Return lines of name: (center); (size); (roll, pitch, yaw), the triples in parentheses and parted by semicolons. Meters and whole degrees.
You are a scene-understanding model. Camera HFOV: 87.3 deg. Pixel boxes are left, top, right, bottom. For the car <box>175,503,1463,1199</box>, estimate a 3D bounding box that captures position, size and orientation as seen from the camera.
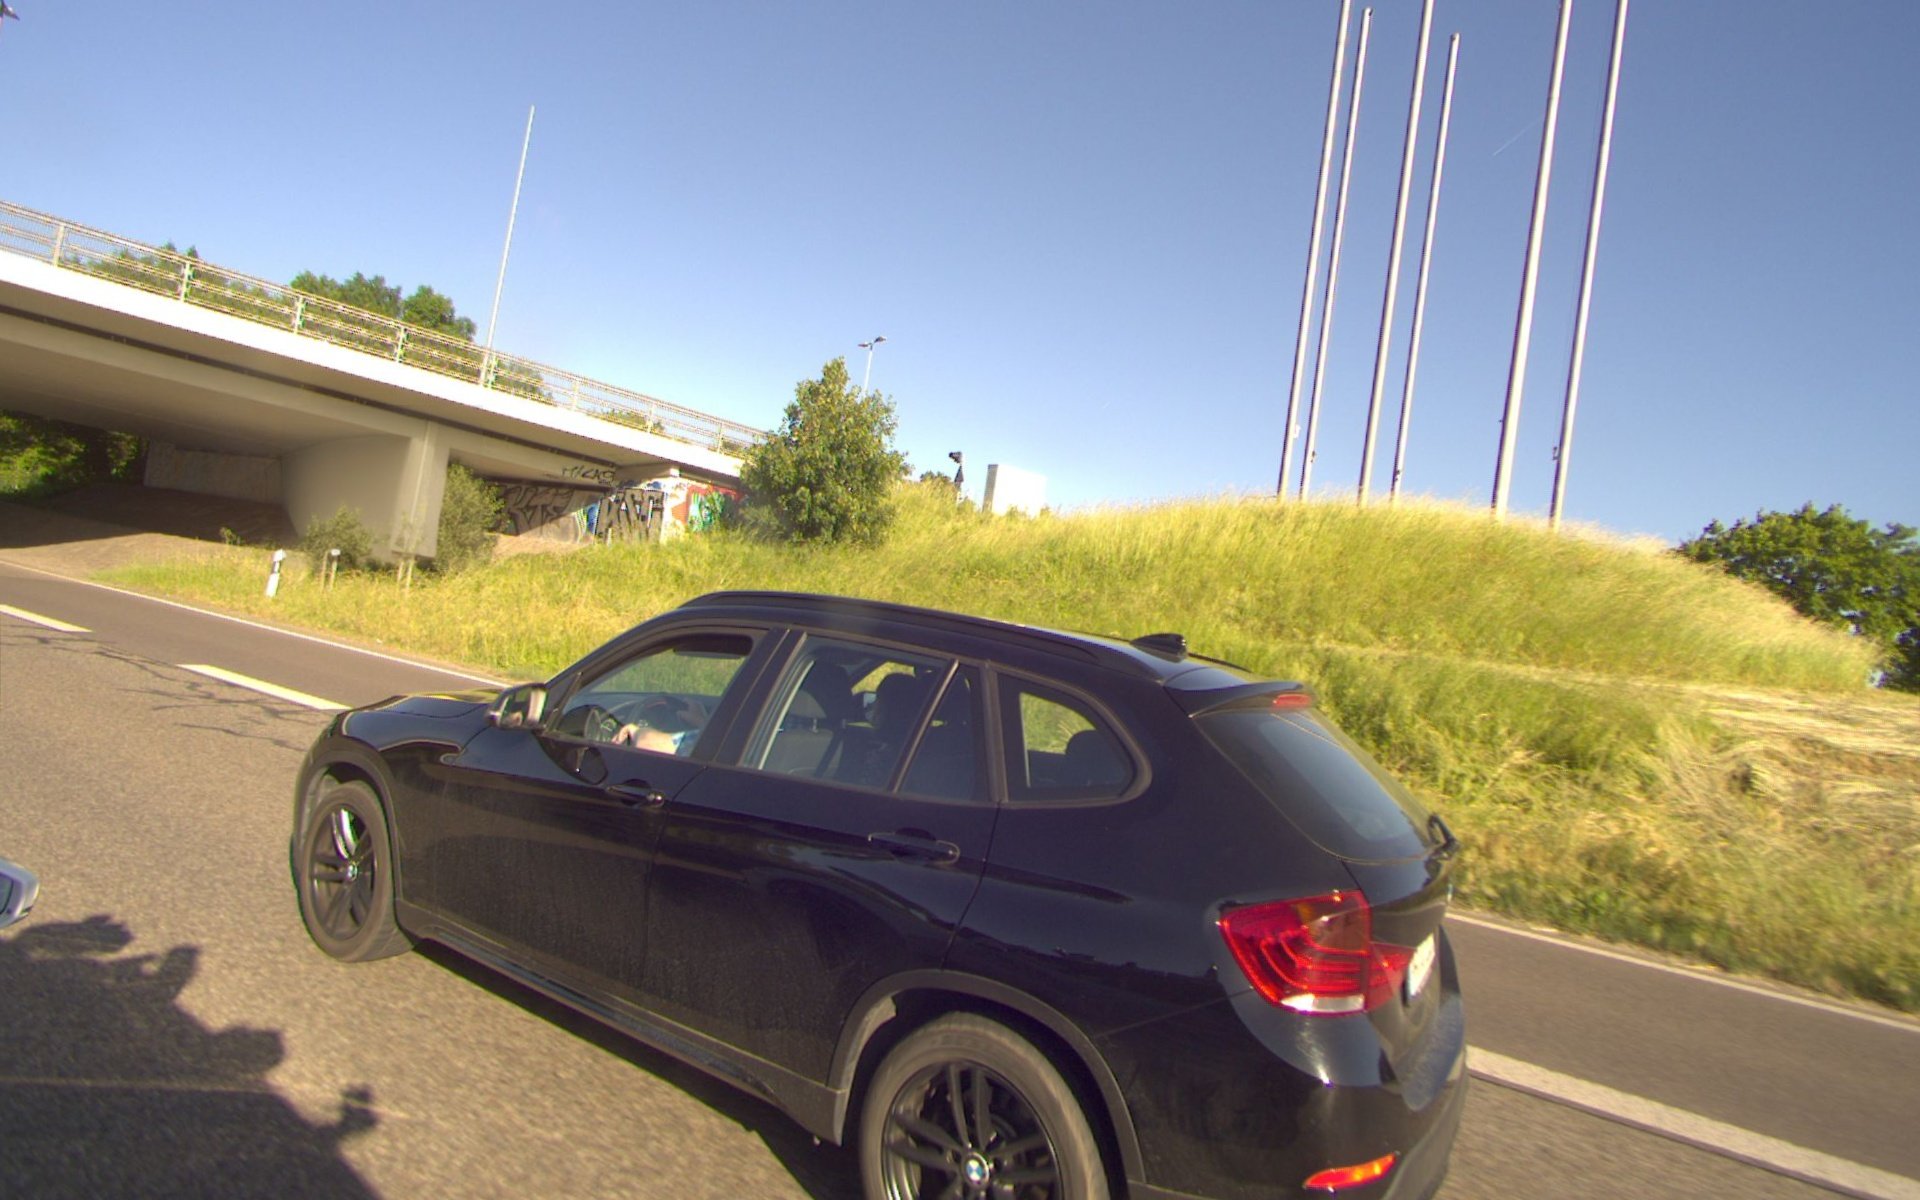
car: (-0.813, 0.677, 3.699); (4.503, 1.523, 1.703); (7, -3, 32)
